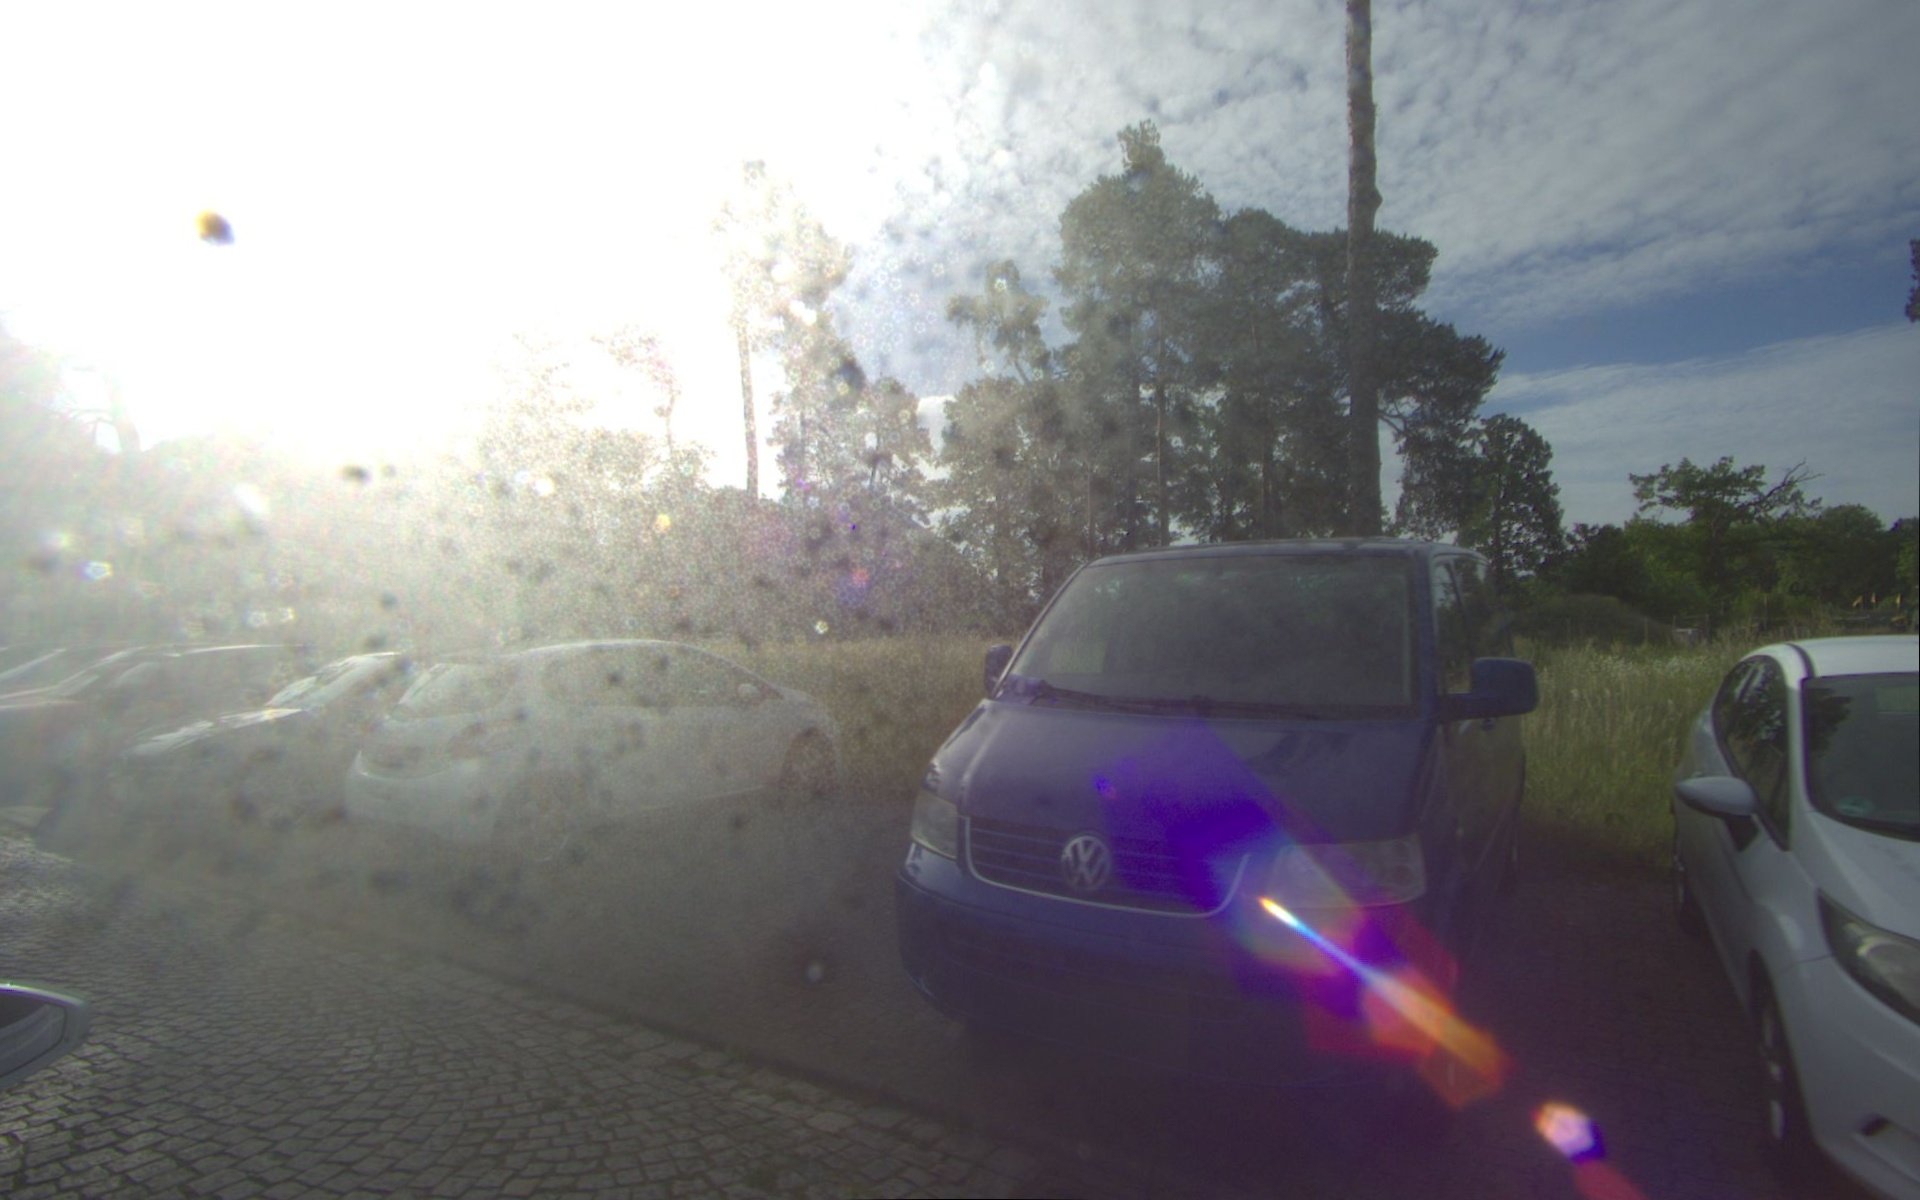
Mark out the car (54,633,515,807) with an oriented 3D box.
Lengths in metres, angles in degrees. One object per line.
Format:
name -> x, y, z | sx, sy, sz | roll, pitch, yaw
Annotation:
car -> -7.336, 1.179, 11.270 | 1.748, 1.514, 3.942 | -2, -2, 33

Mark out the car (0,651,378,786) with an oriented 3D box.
car -> -9.689, 1.338, 12.417 | 1.703, 1.277, 3.942 | -2, -2, 33

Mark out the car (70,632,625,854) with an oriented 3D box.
car -> -5.277, 1.082, 9.145 | 1.805, 1.486, 3.942 | -2, -2, 33

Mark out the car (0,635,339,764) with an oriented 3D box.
car -> -11.435, 1.286, 14.038 | 1.715, 1.492, 4.332 | -2, -2, 32

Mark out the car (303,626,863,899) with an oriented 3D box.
car -> -2.686, 1.022, 7.966 | 1.783, 1.550, 3.866 | -2, -2, 33

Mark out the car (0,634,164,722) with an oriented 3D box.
car -> -17.685, 1.428, 18.309 | 1.905, 1.524, 4.537 | -2, -2, 31

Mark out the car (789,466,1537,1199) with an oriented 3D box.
car -> 1.530, 0.684, 4.817 | 1.964, 1.954, 4.722 | -2, 0, 32

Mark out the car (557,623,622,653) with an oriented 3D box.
car -> -33.445, 3.412, 90.526 | 2.234, 2.567, 5.146 | -2, -2, 34

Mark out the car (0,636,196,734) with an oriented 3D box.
car -> -15.713, 1.398, 16.588 | 1.867, 1.492, 4.502 | -2, -2, 29

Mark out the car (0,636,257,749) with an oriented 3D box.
car -> -13.486, 1.345, 14.987 | 1.824, 1.492, 4.497 | -2, -2, 32

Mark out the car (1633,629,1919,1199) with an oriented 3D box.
car -> 3.649, 0.876, 3.482 | 1.781, 1.488, 4.186 | -2, -2, 29

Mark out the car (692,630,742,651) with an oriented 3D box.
car -> -19.925, 3.307, 82.186 | 1.830, 1.700, 3.927 | -2, -2, 31
